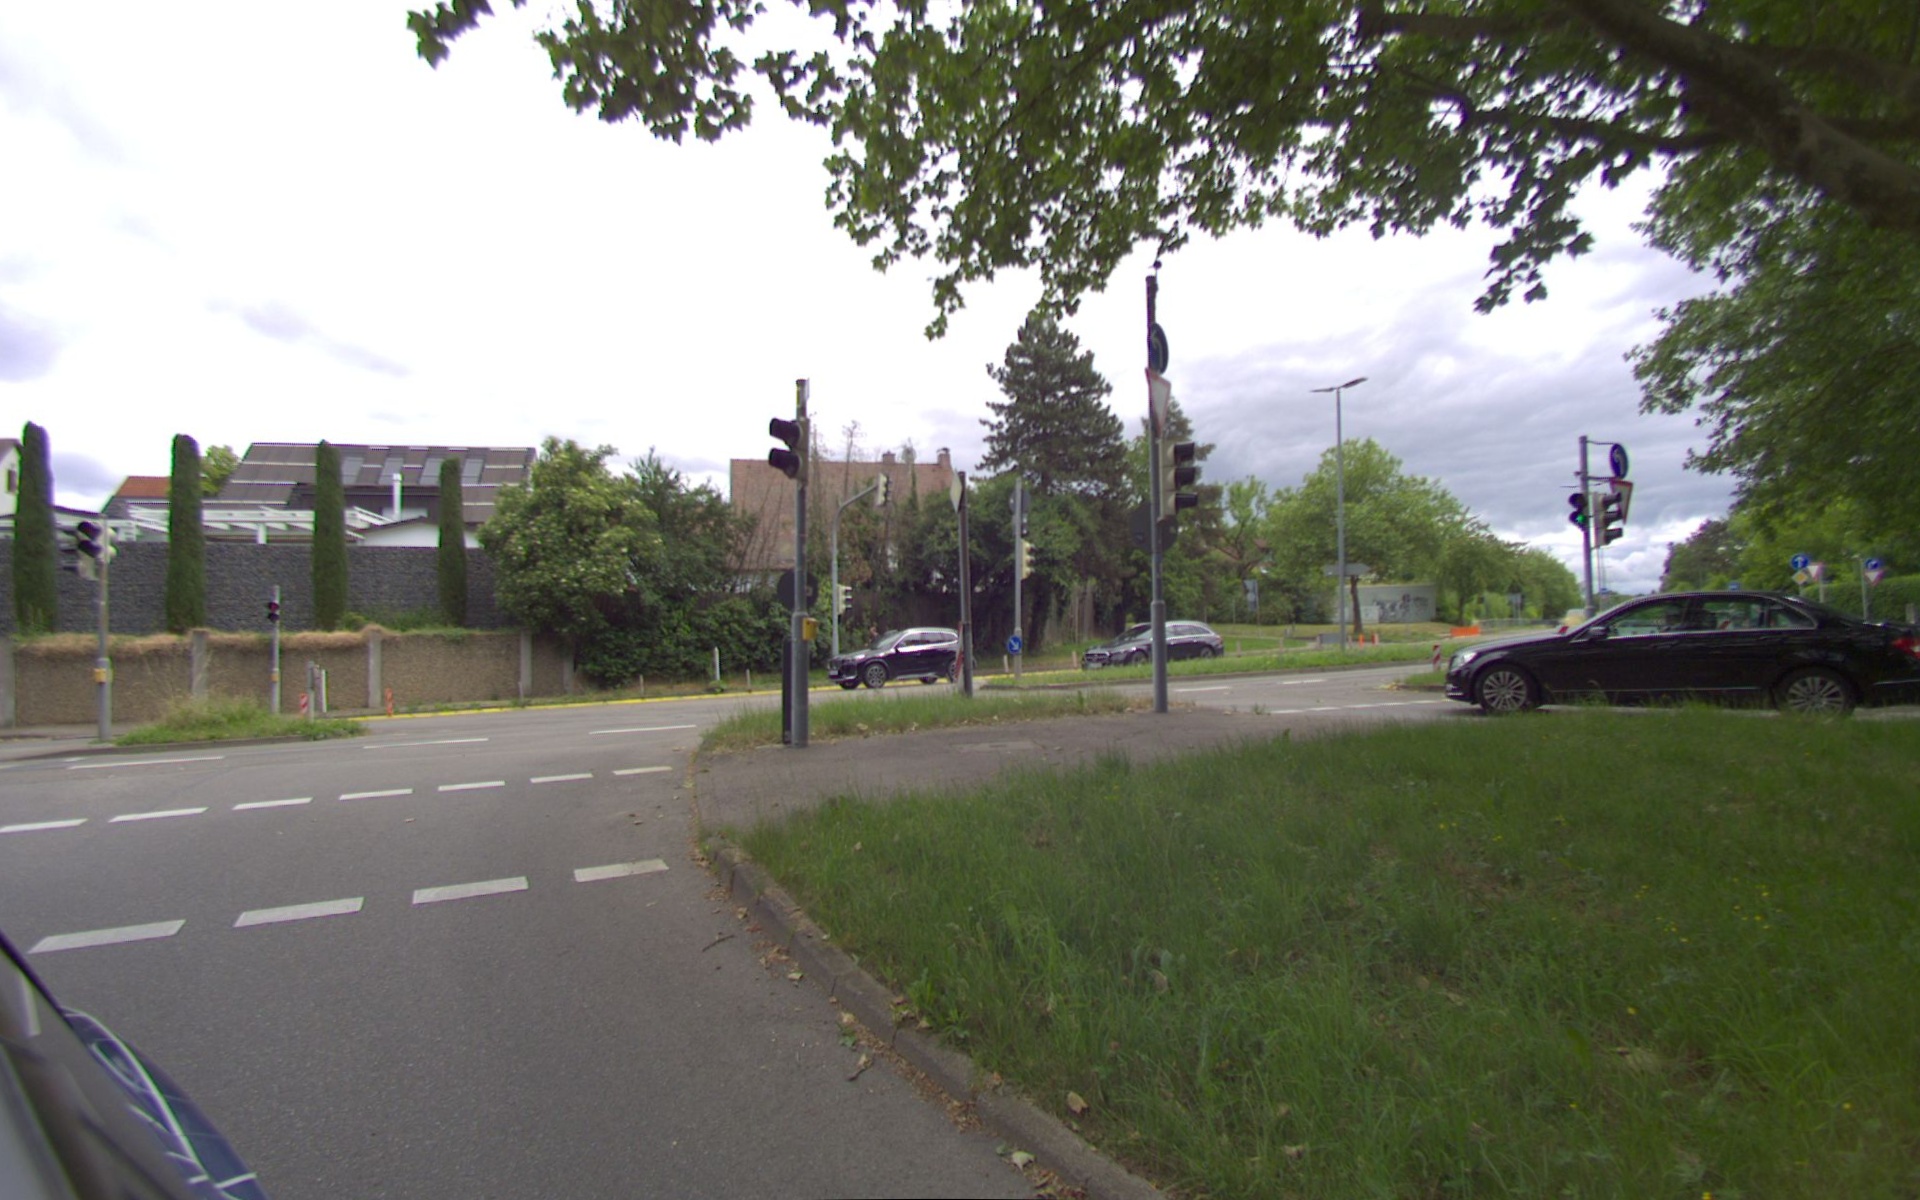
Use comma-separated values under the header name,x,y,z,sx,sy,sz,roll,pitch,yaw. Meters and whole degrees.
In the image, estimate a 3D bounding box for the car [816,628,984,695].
name,x,y,z,sx,sy,sz,roll,pitch,yaw
car,-1.670,1.726,28.892,4.392,1.644,1.850,-1,-4,-35

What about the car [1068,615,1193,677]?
name,x,y,z,sx,sy,sz,roll,pitch,yaw
car,5.130,1.337,30.004,1.843,1.644,4.207,-6,-4,37

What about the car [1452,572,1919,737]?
name,x,y,z,sx,sy,sz,roll,pitch,yaw
car,8.022,0.534,11.192,4.381,1.529,1.740,-1,-1,38

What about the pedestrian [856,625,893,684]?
name,x,y,z,sx,sy,sz,roll,pitch,yaw
pedestrian,-3.039,1.928,35.802,0.842,2.029,0.954,0,-3,-43
